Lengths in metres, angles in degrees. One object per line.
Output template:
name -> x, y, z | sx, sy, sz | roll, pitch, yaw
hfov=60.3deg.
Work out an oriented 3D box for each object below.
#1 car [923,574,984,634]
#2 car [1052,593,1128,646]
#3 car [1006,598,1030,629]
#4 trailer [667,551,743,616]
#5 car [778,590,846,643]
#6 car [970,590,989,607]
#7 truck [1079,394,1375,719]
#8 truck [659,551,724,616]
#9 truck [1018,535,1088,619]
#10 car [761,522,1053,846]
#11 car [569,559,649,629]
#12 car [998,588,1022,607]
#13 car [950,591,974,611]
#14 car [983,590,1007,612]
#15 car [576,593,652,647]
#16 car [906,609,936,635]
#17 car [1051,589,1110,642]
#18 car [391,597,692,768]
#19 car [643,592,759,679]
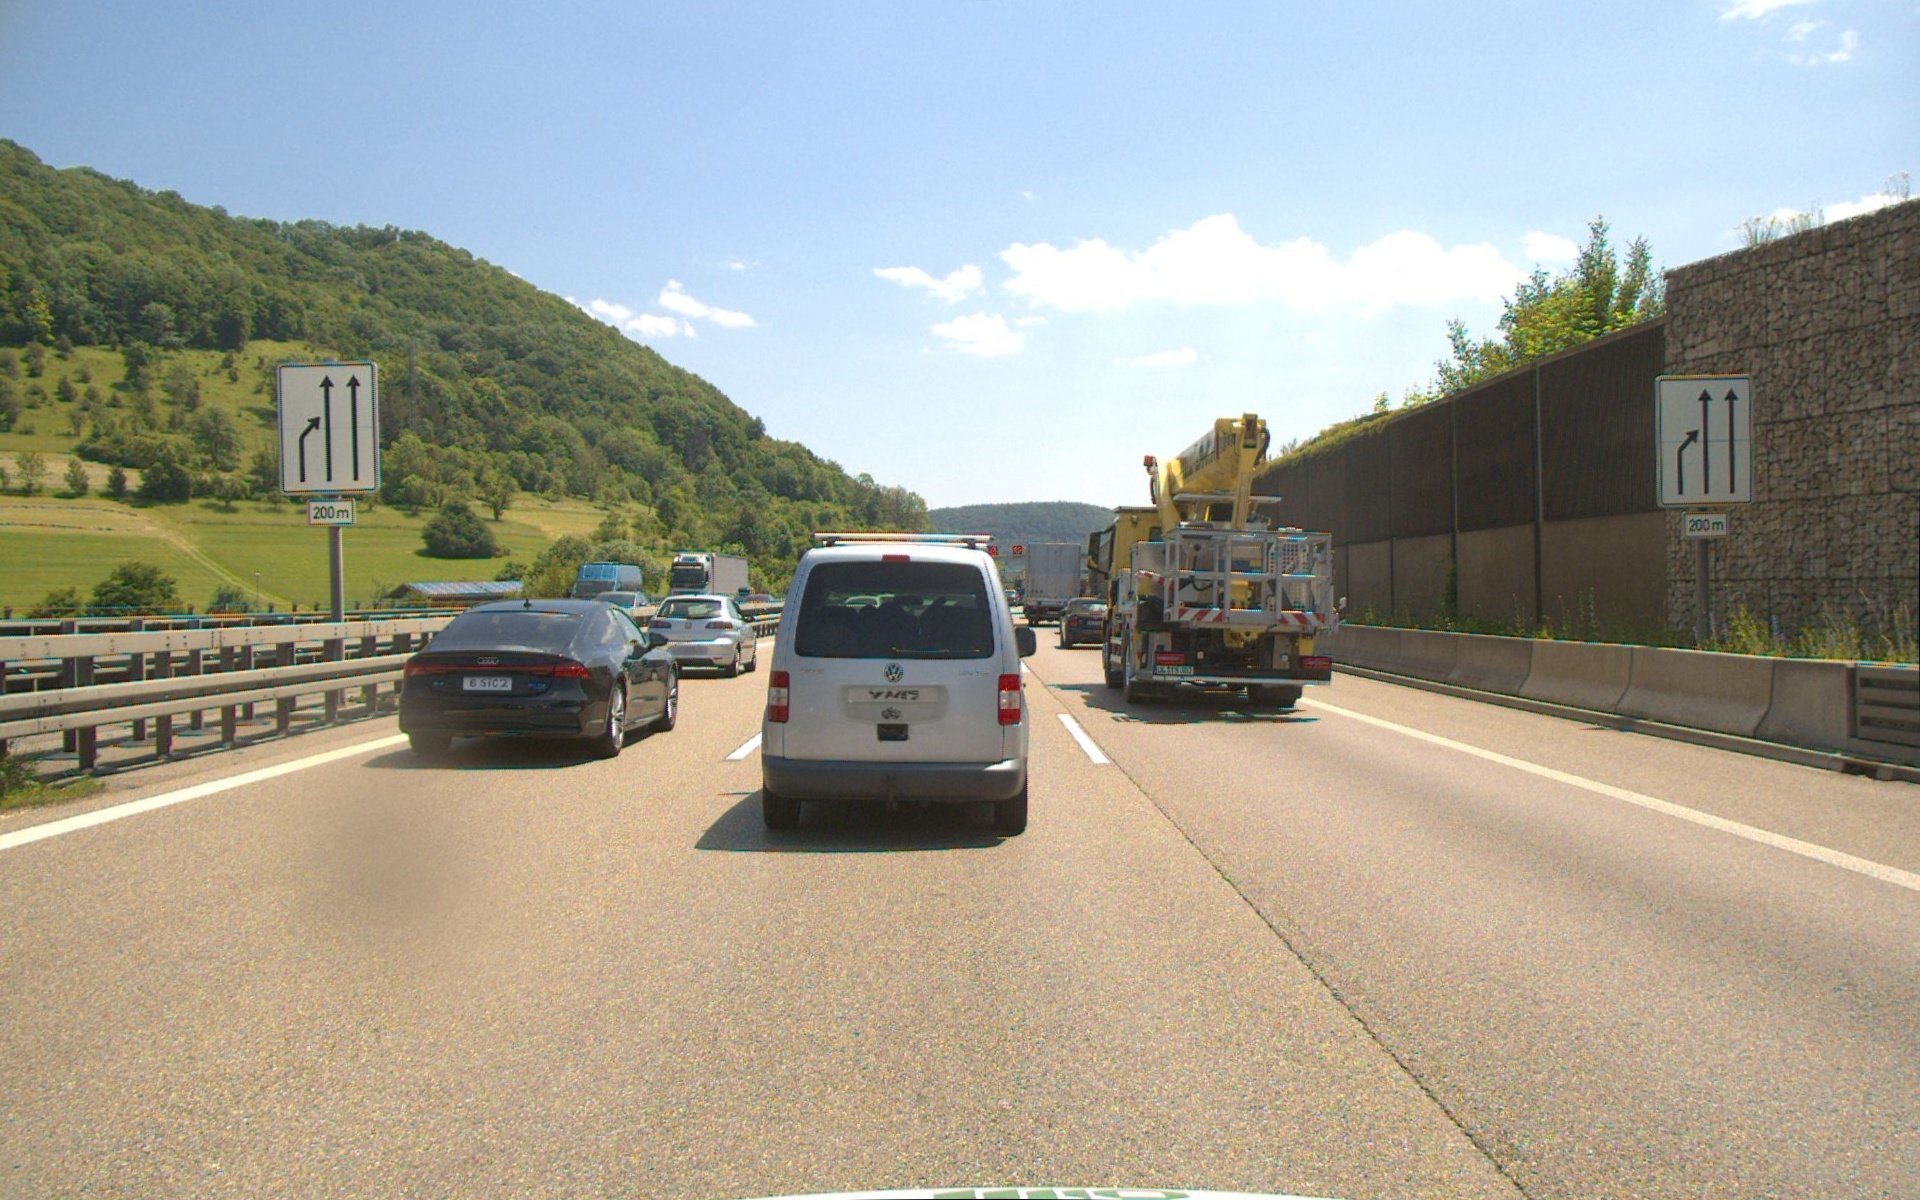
car -> -0.252, 0.122, 57.594 | 1.954, 2.010, 3.998 | 0, 0, -3
car -> 3.760, 0.535, 48.307 | 1.750, 1.484, 3.769 | 0, 0, -3
car -> 4.448, 1.002, 127.597 | 1.640, 2.335, 3.999 | 1, 0, -1
trailer -> -17.939, -1.083, 117.265 | 3.180, 4.278, 13.000 | 1, 0, 0
car -> -4.517, 0.475, 50.925 | 1.886, 1.525, 3.998 | 1, 0, -3
car -> 2.168, -0.145, 186.101 | 1.953, 1.837, 3.998 | 1, 0, -2
truck -> 3.623, -0.557, 24.840 | 2.650, 4.011, 8.717 | 0, 0, -3
truck -> -18.029, -1.080, 111.370 | 3.211, 4.220, 6.954 | 1, 0, 0
truck -> 4.515, -1.044, 81.657 | 2.880, 3.890, 8.235 | 1, 0, 0
car -> -0.404, 0.484, 11.762 | 1.721, 1.900, 3.998 | 0, 0, -3
car -> -15.249, -0.240, 72.250 | 2.112, 2.912, 6.398 | 1, 0, 0
car -> 5.022, -0.201, 167.563 | 2.072, 1.859, 3.997 | 1, 0, -3
car -> 0.165, 0.137, 160.673 | 2.072, 1.859, 3.997 | 1, 0, -3
car -> 2.992, 0.078, 140.841 | 1.953, 1.779, 4.000 | 1, 0, 0
car -> -11.610, 0.651, 55.692 | 1.809, 1.739, 4.281 | 0, 0, -3
car -> -2.861, 1.626, 121.499 | 2.071, 1.859, 4.000 | 1, 0, 0
car -> 4.763, 0.592, 65.949 | 1.953, 2.049, 3.999 | 0, 0, -2
car -> -3.892, 0.684, 16.295 | 1.764, 1.415, 4.968 | 0, 0, -1
car -> -4.647, 0.594, 30.109 | 1.662, 1.470, 3.860 | 0, 0, -2
